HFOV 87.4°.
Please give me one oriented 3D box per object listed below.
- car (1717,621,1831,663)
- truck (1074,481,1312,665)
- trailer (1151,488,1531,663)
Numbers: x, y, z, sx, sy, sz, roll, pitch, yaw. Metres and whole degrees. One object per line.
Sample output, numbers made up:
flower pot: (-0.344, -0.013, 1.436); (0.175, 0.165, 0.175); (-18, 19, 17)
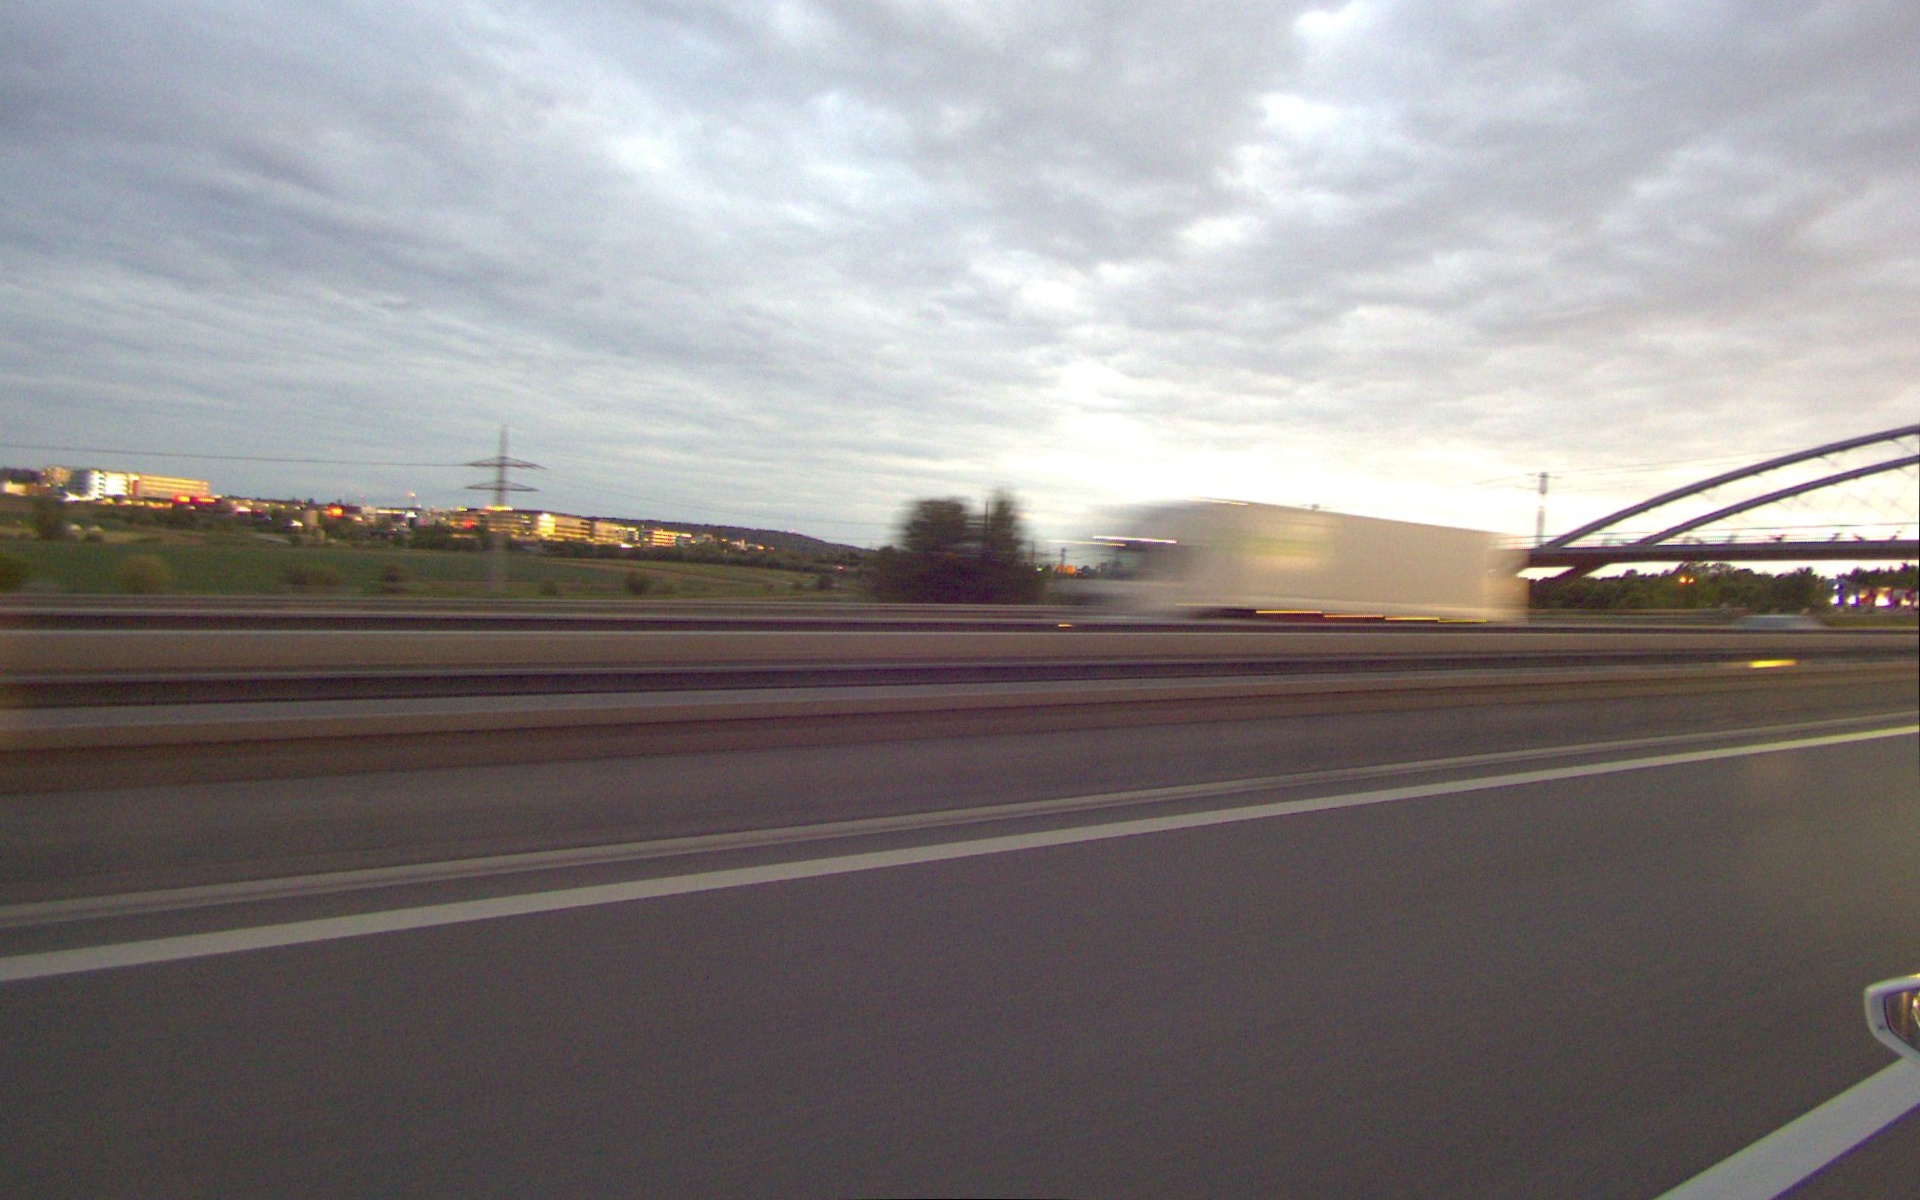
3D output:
car: (30.694, 1.556, 37.852); (4.279, 1.422, 1.984); (1, 0, -31)
truck: (6.458, -0.623, 27.656); (6.174, 4.567, 2.810); (1, 0, -32)
trailer: (12.359, -0.519, 31.298); (14.463, 4.567, 2.810); (1, 0, -32)
